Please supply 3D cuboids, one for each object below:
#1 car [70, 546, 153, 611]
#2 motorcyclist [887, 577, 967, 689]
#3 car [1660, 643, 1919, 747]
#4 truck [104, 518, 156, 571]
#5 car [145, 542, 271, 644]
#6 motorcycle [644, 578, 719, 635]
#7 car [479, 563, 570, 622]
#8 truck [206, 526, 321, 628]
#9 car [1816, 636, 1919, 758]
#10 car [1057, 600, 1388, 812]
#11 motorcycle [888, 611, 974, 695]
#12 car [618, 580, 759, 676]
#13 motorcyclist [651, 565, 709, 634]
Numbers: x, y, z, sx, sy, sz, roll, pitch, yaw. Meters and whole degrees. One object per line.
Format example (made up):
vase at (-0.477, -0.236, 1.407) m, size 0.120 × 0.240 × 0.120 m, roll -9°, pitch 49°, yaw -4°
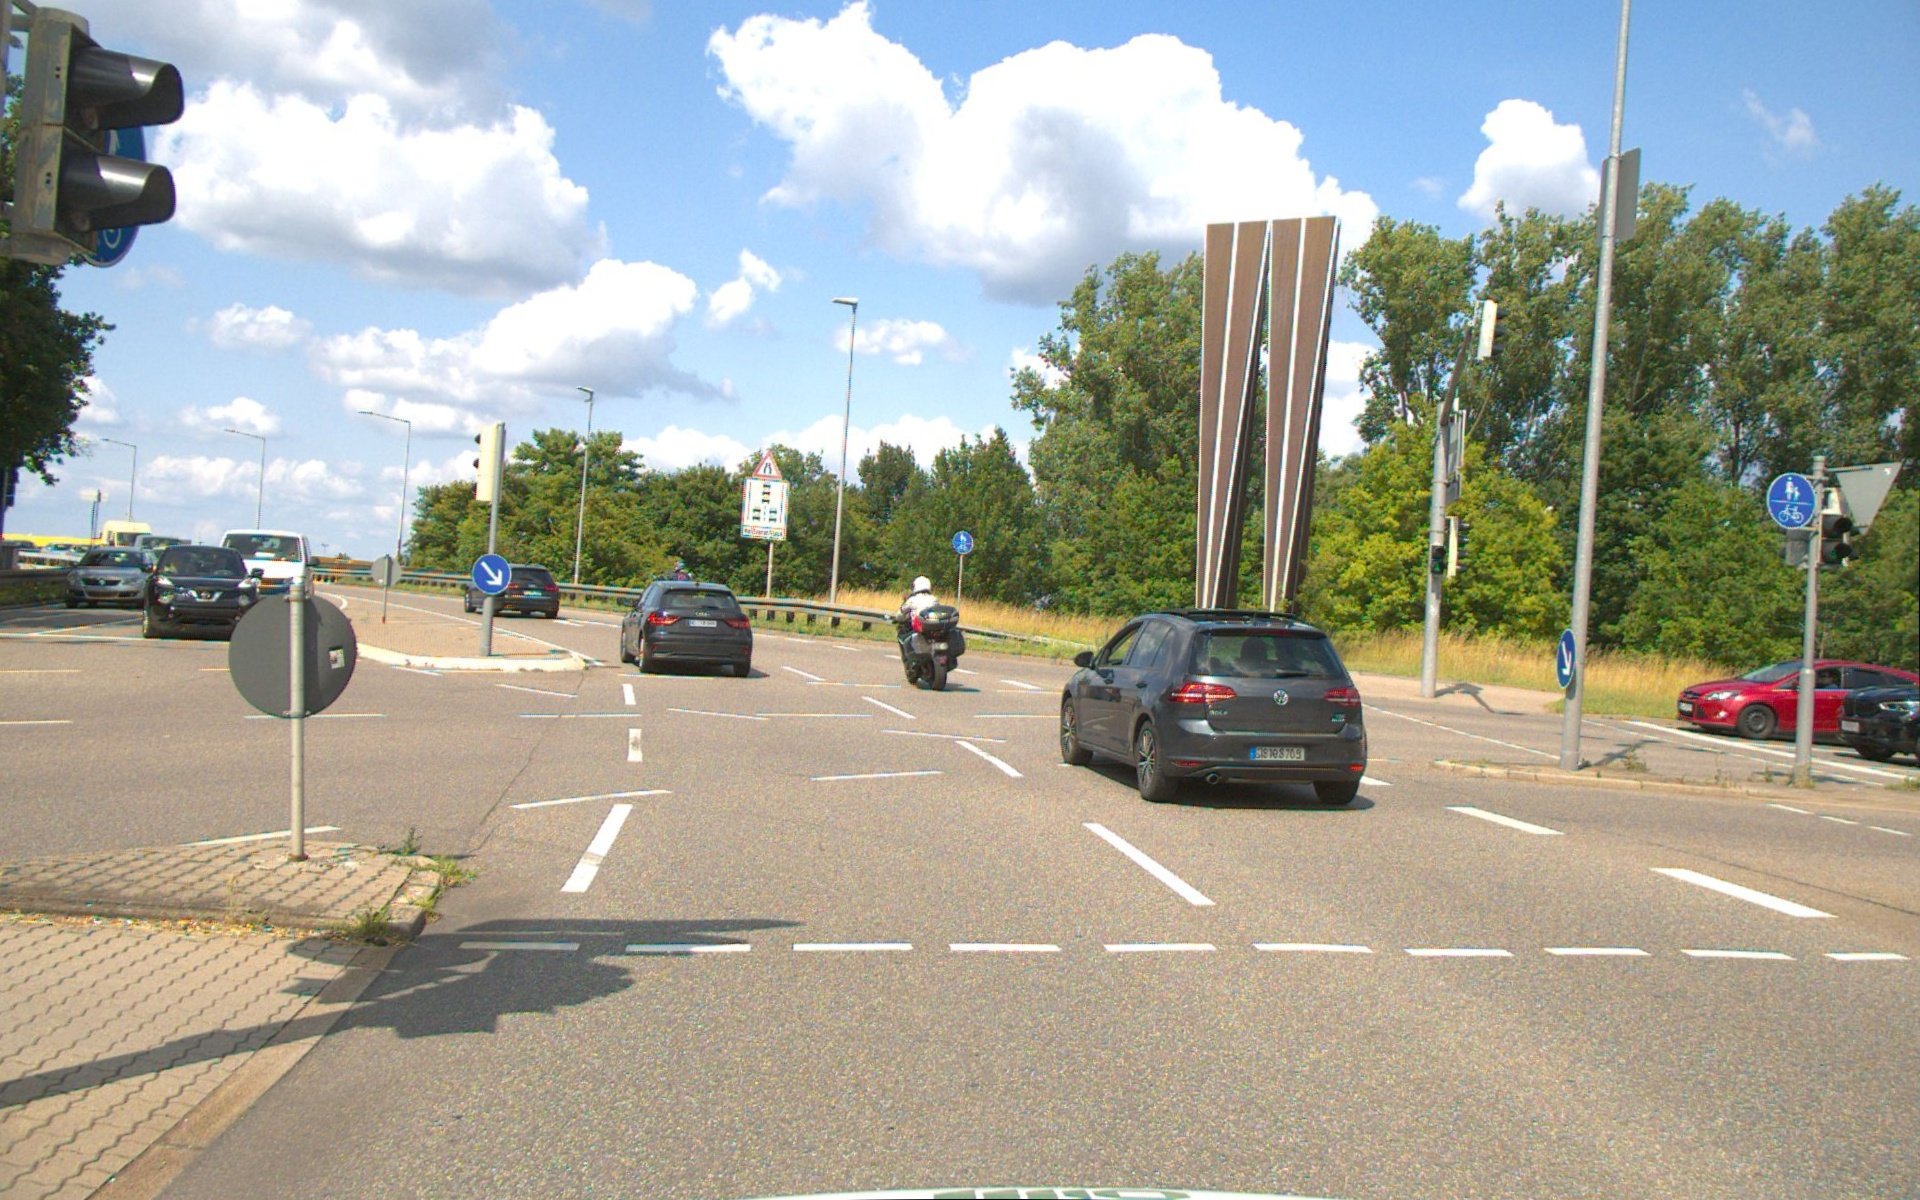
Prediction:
car at (-21.087, -0.556, 41.230) m, size 1.661 × 1.504 × 4.675 m, roll 1°, pitch 1°, yaw -25°
motorcyclist at (-0.524, 0.501, 25.539) m, size 0.949 × 1.648 × 1.121 m, roll 3°, pitch -1°, yaw -13°
car at (14.648, 1.648, 28.785) m, size 4.117 × 1.399 × 1.759 m, roll 4°, pitch 0°, yaw 0°
truck at (-44.091, -2.970, 87.835) m, size 1.974 × 2.666 × 6.039 m, roll 1°, pitch 2°, yaw -31°
car at (-12.950, -0.163, 28.386) m, size 1.679 × 1.584 × 3.787 m, roll 3°, pitch 0°, yaw -28°
motorcycle at (-6.777, 0.149, 40.167) m, size 0.879 × 1.269 × 2.372 m, roll 3°, pitch 0°, yaw -33°
car at (-12.152, -0.223, 45.996) m, size 1.623 × 1.504 × 3.838 m, roll 3°, pitch 0°, yaw -27°
truck at (-14.869, -0.506, 35.520) m, size 1.932 × 1.946 × 5.339 m, roll 3°, pitch 0°, yaw -20°
car at (15.478, 1.571, 24.916) m, size 4.117 × 1.674 × 1.838 m, roll 4°, pitch 0°, yaw 0°
car at (2.062, 0.791, 14.109) m, size 1.612 × 1.504 × 3.863 m, roll 3°, pitch 0°, yaw -9°
motorcycle at (-0.473, 0.781, 25.321) m, size 0.775 × 1.151 × 2.391 m, roll 3°, pitch 0°, yaw -13°
car at (-4.433, 0.420, 26.611) m, size 1.656 × 1.412 × 3.719 m, roll 2°, pitch 0°, yaw -18°
motorcyclist at (-6.819, -0.018, 40.218) m, size 0.957 × 1.624 × 1.112 m, roll 3°, pitch -1°, yaw -33°
